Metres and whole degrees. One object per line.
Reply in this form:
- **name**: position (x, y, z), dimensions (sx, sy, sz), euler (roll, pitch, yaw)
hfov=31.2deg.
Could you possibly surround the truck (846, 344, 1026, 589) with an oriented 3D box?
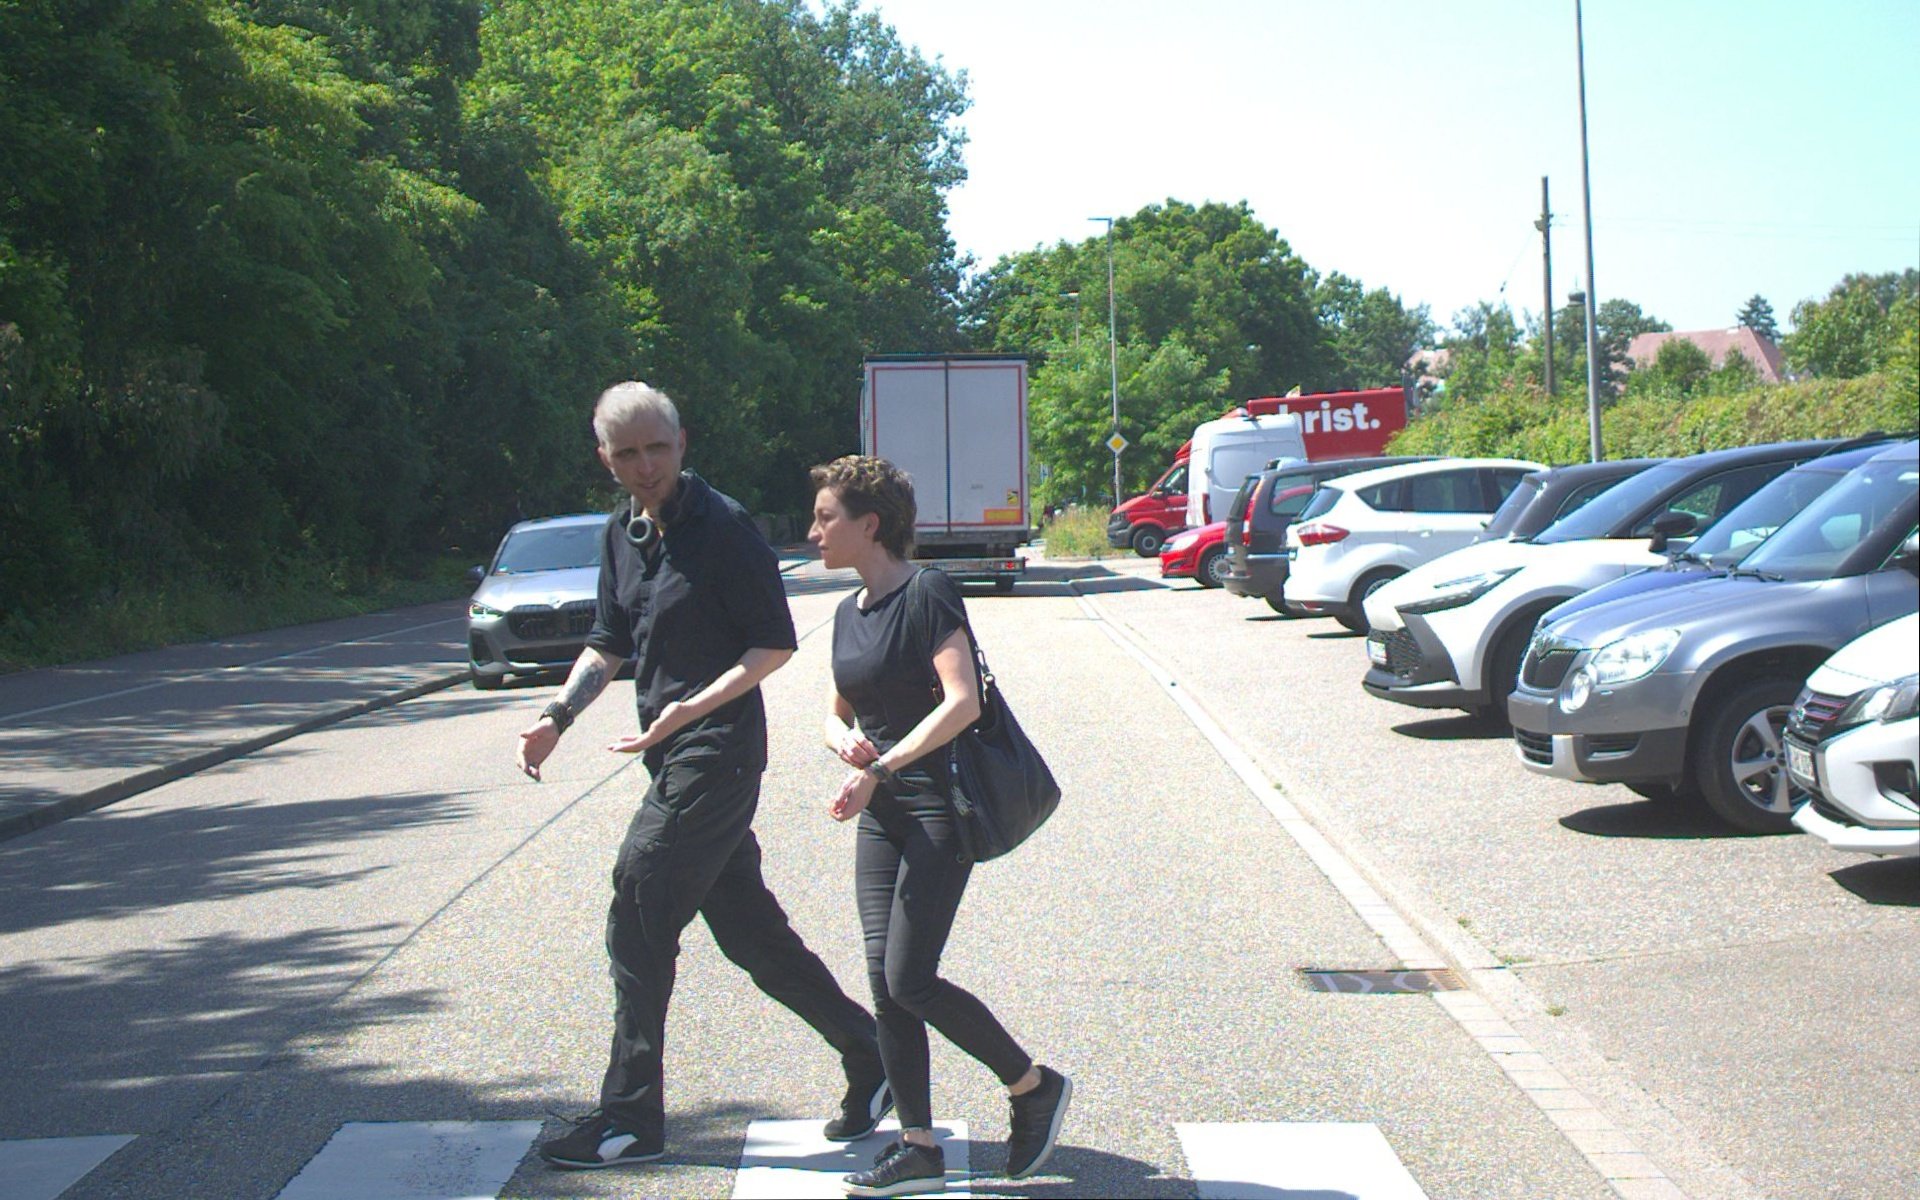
- **truck**: position (-0.263, -2.259, 59.838), dimensions (2.733, 3.733, 13.246), euler (-1, 2, 1)

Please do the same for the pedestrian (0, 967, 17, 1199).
- **pedestrian**: position (-2.621, 0.518, 6.810), dimensions (1.155, 1.745, 1.023), euler (-4, 2, -3)

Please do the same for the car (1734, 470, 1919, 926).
- **car**: position (4.771, 0.162, 12.077), dimensions (3.690, 1.445, 1.610), euler (-5, 2, 4)

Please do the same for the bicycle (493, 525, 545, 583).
- **bicycle**: position (-8.180, -0.858, 63.824), dimensions (0.561, 1.023, 1.839), euler (-2, 2, 4)

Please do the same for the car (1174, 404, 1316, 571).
- **car**: position (5.126, -2.070, 62.756), dimensions (1.954, 2.724, 7.168), euler (-4, 2, 1)

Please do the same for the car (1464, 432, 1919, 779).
- **car**: position (4.556, -0.058, 17.888), dimensions (3.452, 1.522, 1.540), euler (-6, 2, -5)

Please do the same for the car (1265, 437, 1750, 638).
- **car**: position (5.227, -0.617, 33.193), dimensions (4.276, 1.572, 1.766), euler (-4, 2, -1)

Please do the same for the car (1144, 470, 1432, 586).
- **car**: position (4.959, -1.108, 52.266), dimensions (4.053, 1.429, 1.836), euler (-4, 2, -2)

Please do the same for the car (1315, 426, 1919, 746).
- **car**: position (4.341, -0.140, 20.756), dimensions (3.962, 1.517, 1.865), euler (-6, 2, -5)

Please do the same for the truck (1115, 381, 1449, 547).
- **truck**: position (7.215, -3.037, 76.766), dimensions (7.140, 3.428, 2.329), euler (-1, 2, 11)

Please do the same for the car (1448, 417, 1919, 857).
- **car**: position (4.324, 0.019, 14.958), dimensions (3.960, 1.634, 1.664), euler (-6, 2, -5)

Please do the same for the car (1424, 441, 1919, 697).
- **car**: position (5.015, -0.239, 23.748), dimensions (3.388, 1.498, 1.588), euler (-4, 2, 4)

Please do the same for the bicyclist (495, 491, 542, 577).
- **bicyclist**: position (-8.190, -1.236, 63.829), dimensions (0.648, 1.559, 0.837), euler (-2, 2, 4)

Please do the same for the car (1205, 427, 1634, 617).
- **car**: position (5.215, -0.889, 39.401), dimensions (4.452, 1.798, 1.953), euler (-4, 1, -4)

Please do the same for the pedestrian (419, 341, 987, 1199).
- **pedestrian**: position (-0.600, 0.354, 7.931), dimensions (1.082, 1.858, 0.784), euler (-1, 2, -26)

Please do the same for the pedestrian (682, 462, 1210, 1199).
- **pedestrian**: position (-0.044, 0.508, 7.518), dimensions (0.893, 1.605, 0.781), euler (0, 2, -26)

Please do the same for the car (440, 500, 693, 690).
- **car**: position (-3.713, -0.108, 33.120), dimensions (1.891, 1.527, 4.197), euler (-6, 2, -1)
